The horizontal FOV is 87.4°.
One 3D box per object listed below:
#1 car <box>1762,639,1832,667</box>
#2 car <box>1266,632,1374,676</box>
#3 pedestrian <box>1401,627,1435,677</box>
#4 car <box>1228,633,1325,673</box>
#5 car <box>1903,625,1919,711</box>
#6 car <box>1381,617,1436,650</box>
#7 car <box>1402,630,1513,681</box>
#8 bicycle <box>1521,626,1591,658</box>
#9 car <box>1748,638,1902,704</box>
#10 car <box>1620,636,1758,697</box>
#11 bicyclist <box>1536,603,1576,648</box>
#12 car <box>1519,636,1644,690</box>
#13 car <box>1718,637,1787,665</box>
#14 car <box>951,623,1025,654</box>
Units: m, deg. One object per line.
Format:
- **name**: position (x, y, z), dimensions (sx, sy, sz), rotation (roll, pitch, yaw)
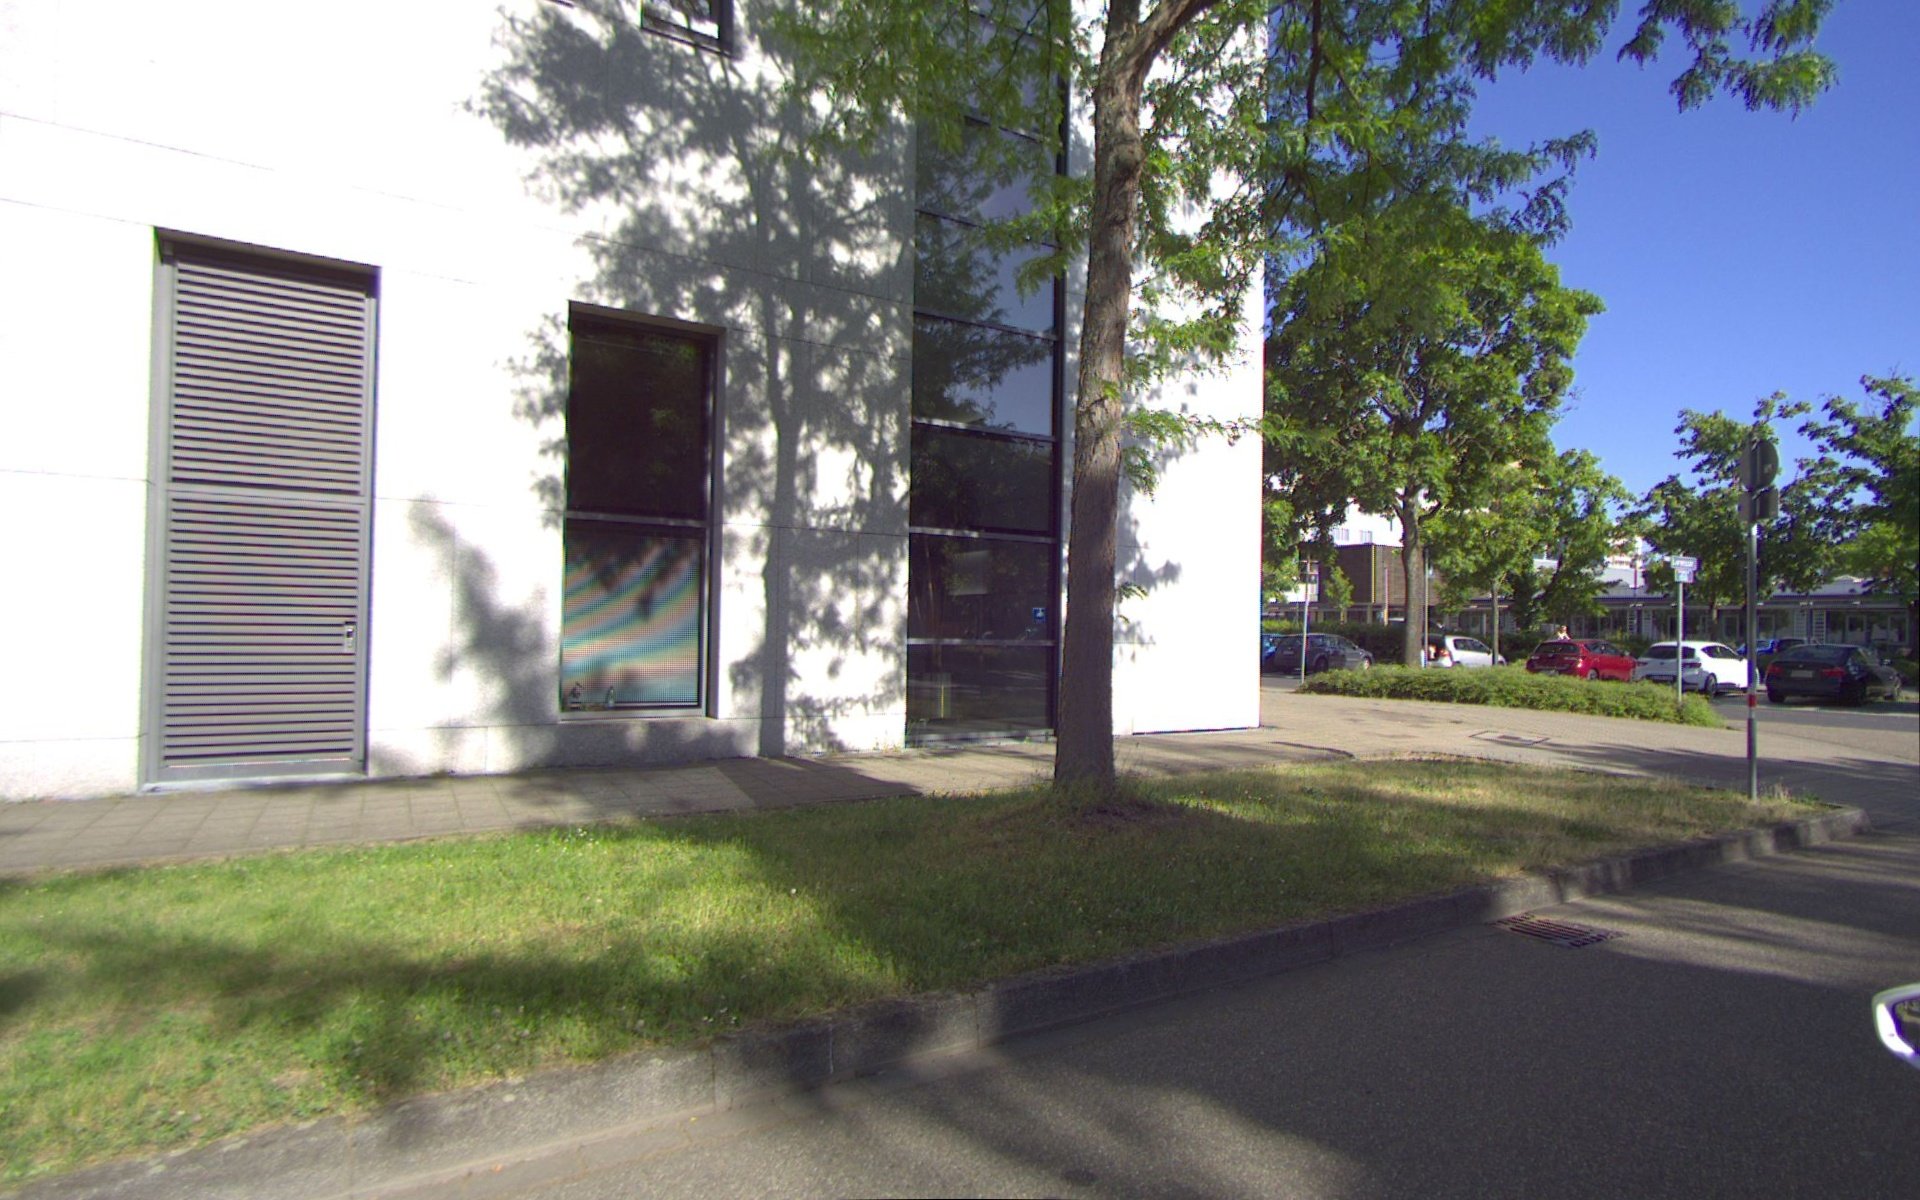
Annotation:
- **car**: position (47.957, 3.000, 57.557), dimensions (3.860, 1.517, 1.828), rotation (1, -1, -29)
- **car**: position (13.707, 2.016, 38.201), dimensions (4.154, 1.540, 1.721), rotation (1, -1, -33)
- **pedestrian**: position (15.115, 1.696, 33.157), dimensions (0.752, 1.600, 0.674), rotation (2, 0, -2)
- **car**: position (12.736, 2.116, 40.334), dimensions (3.869, 1.487, 1.607), rotation (1, 0, -33)
- **car**: position (23.083, 1.482, 22.457), dimensions (4.120, 1.871, 1.865), rotation (0, -1, -31)
- **car**: position (35.022, 2.627, 78.484), dimensions (3.601, 2.524, 2.216), rotation (1, -1, -29)
- **car**: position (17.048, 1.872, 34.390), dimensions (3.869, 1.599, 1.665), rotation (1, 0, -33)
- **bicycle**: position (20.748, 1.453, 34.997), dimensions (0.589, 1.009, 2.071), rotation (1, 0, -31)
- **car**: position (21.572, 1.697, 25.032), dimensions (4.123, 1.424, 1.813), rotation (0, -1, -33)
- **car**: position (19.984, 1.768, 27.502), dimensions (3.869, 1.456, 1.792), rotation (0, 0, -33)
- **bicyclist**: position (20.761, 0.871, 34.996), dimensions (0.589, 1.544, 1.006), rotation (1, 0, -31)
- **car**: position (18.530, 1.843, 29.922), dimensions (3.869, 1.445, 1.658), rotation (1, 0, -33)
- **car**: position (46.825, 2.990, 59.338), dimensions (3.860, 1.517, 1.828), rotation (1, -1, -29)
- **car**: position (1.653, 2.215, 58.141), dimensions (3.869, 1.718, 1.923), rotation (1, 0, -33)
